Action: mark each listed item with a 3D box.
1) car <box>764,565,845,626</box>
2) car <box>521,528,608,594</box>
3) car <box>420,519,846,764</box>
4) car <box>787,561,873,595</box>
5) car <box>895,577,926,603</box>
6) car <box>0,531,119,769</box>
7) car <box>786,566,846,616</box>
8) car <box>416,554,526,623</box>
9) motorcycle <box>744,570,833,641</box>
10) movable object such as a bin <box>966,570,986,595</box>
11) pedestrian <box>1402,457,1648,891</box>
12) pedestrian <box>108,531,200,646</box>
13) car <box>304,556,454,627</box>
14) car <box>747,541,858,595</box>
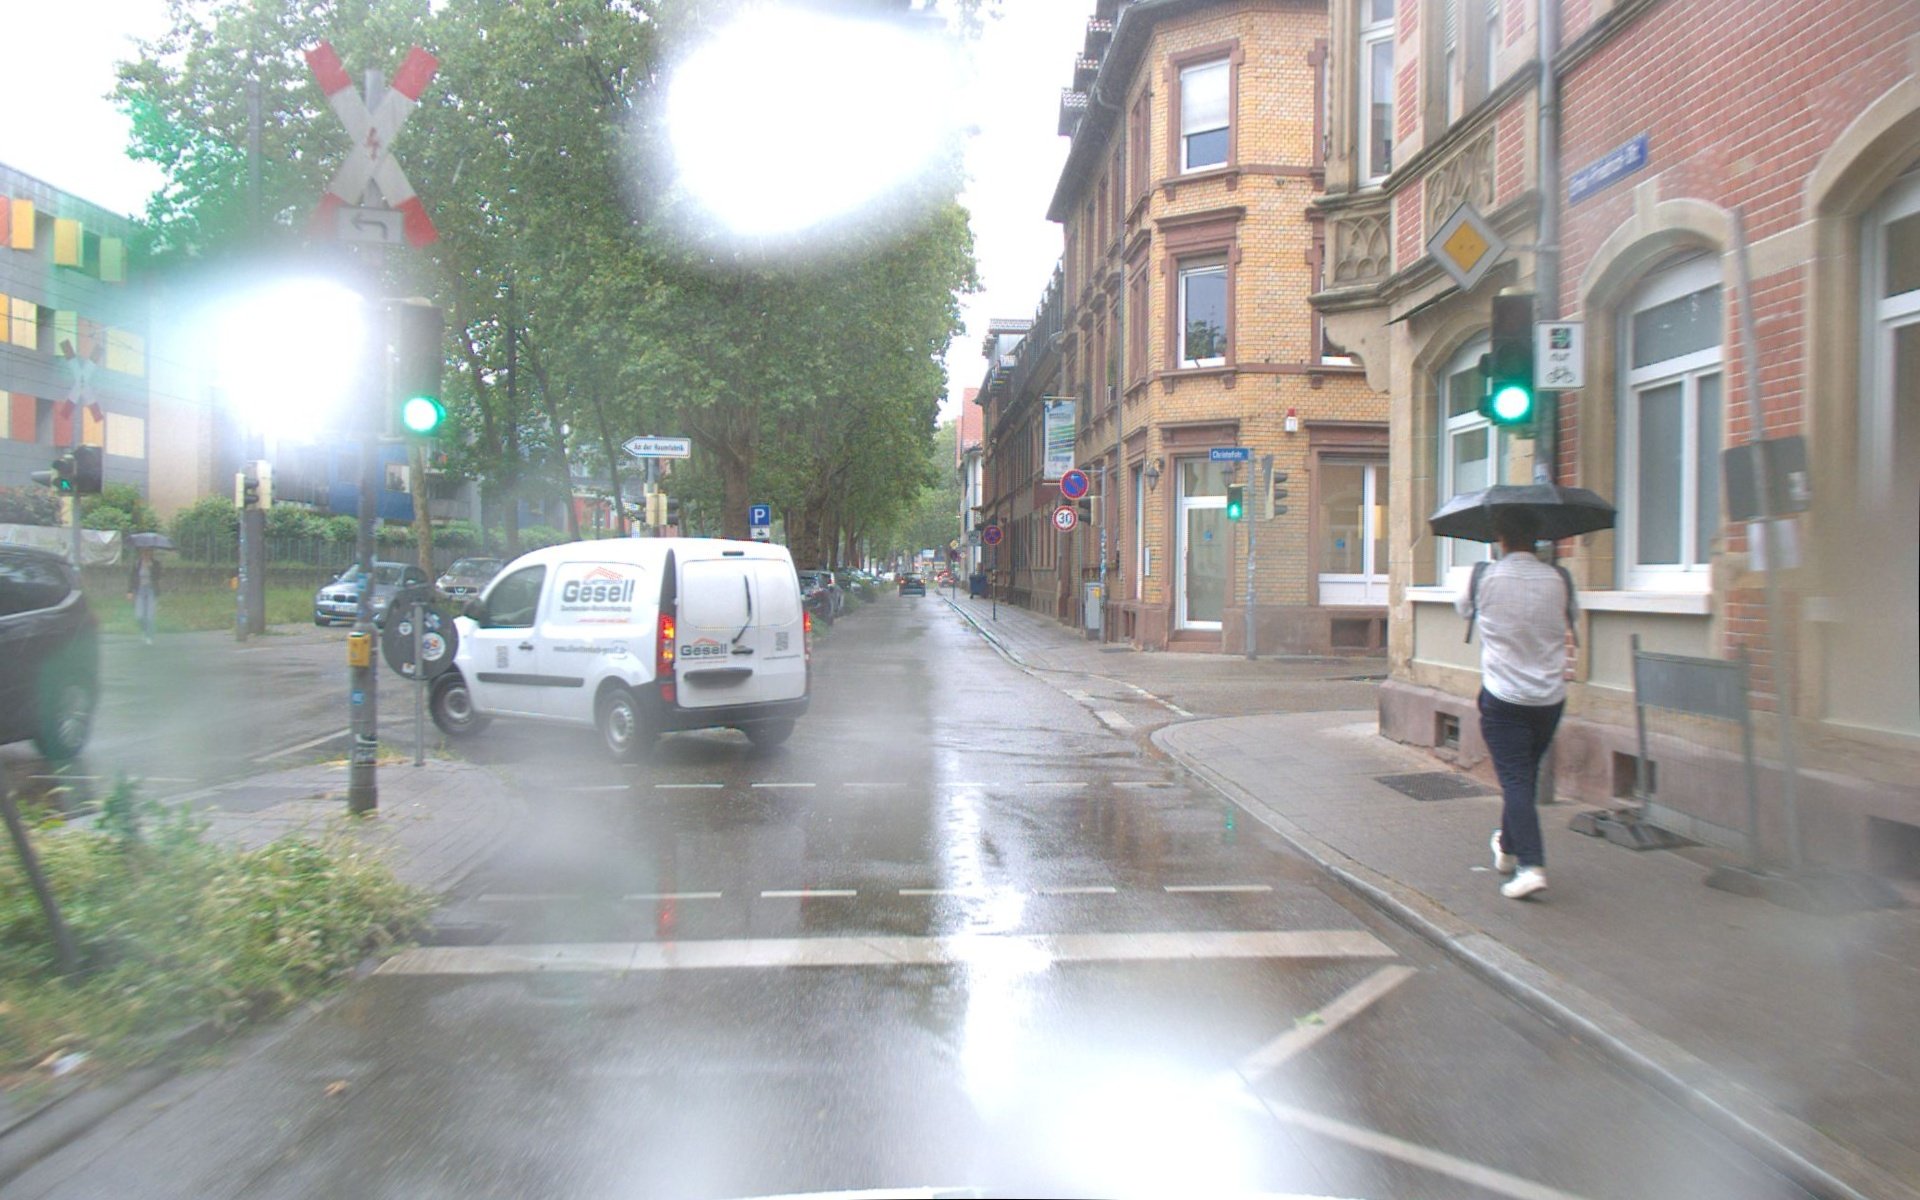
[{"bbox_3d":[-4.188,-0.158,45.103,1.858,1.511,4.620,2,1,-2],"label":"car"},{"bbox_3d":[-13.297,-1.313,55.958,2.014,2.032,5.429,2,1,-5],"label":"car"},{"bbox_3d":[-3.040,0.267,14.866,1.923,1.882,4.001,0,1,-44],"label":"car"},{"bbox_3d":[-6.586,-1.116,83.525,3.975,1.564,1.832,2,1,29],"label":"car"},{"bbox_3d":[-3.231,-0.664,108.267,1.953,1.668,3.999,1,0,-2],"label":"car"},{"bbox_3d":[-7.609,0.340,11.011,2.016,1.647,4.668,1,1,-6],"label":"car"},{"bbox_3d":[-4.742,-0.328,54.858,1.694,1.541,4.206,2,1,-2],"label":"car"},{"bbox_3d":[-13.236,-0.312,45.007,1.836,1.758,3.999,1,0,-1],"label":"car"},{"bbox_3d":[-3.843,0.110,36.968,2.072,1.526,0.767,2,0,42],"label":"motorcycle"},{"bbox_3d":[0.876,-0.985,92.814,1.001,1.324,1.366,-3,1,-2],"label":"movable object such as a bin"},{"bbox_3d":[2.714,0.334,8.039,0.769,1.947,0.929,-3,0,-2],"label":"pedestrian"},{"bbox_3d":[-13.186,-0.190,27.088,0.917,1.831,1.205,1,0,-2],"label":"pedestrian"},{"bbox_3d":[-13.139,-0.217,37.680,1.865,1.489,4.388,1,1,0],"label":"car"},{"bbox_3d":[-6.893,-1.393,72.202,4.561,2.323,2.007,1,1,32],"label":"car"}]
